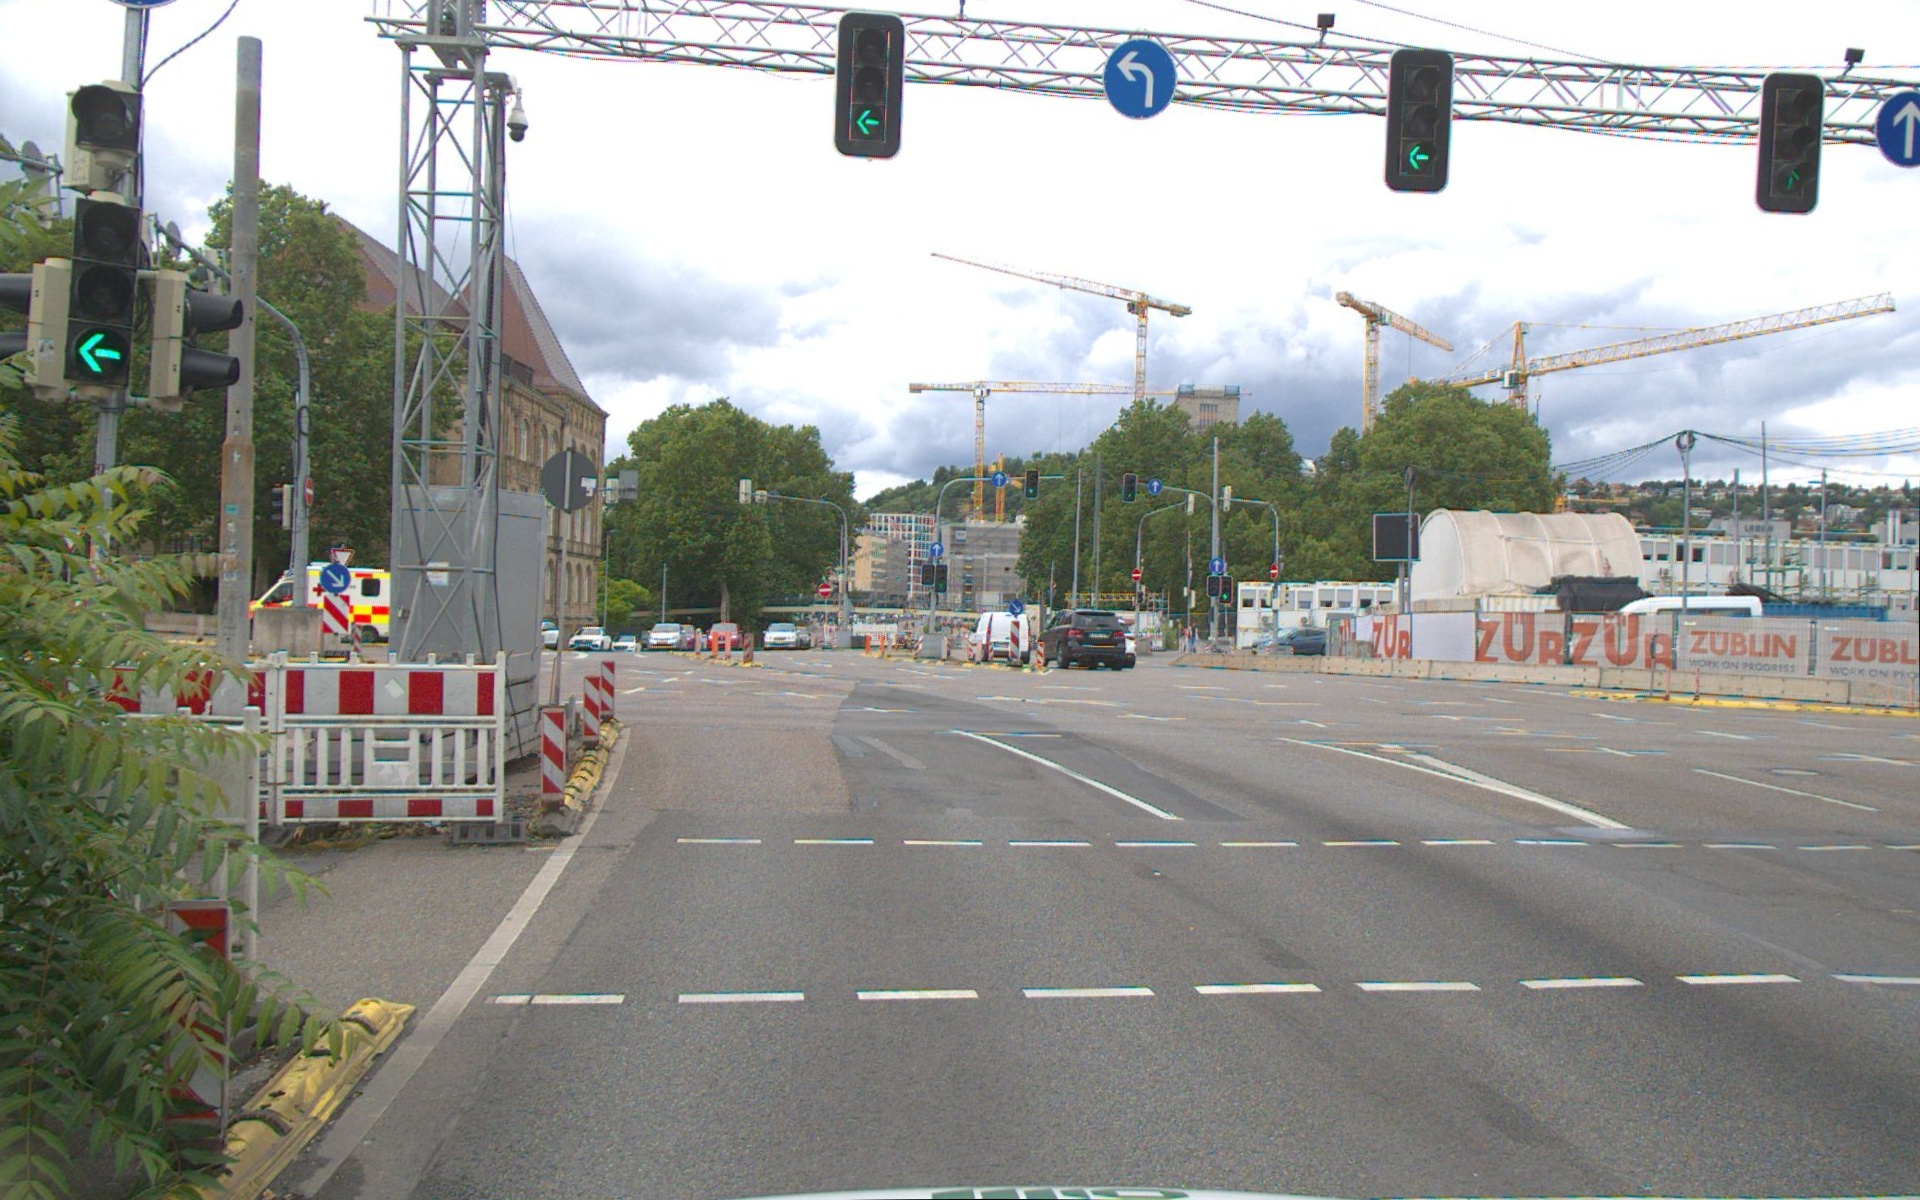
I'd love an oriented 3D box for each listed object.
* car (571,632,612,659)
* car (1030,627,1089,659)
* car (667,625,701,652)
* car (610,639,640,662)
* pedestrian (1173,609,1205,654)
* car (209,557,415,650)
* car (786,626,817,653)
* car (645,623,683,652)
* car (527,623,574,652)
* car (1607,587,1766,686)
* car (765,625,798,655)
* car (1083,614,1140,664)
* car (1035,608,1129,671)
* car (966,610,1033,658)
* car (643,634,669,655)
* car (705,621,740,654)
[{"bbox_3d":[-21.196,2.628,95.255,1.642,1.422,3.680,2,-1,-3],"label":"car"},{"bbox_3d":[4.545,1.963,75.934,1.650,1.423,3.069,1,-1,-19],"label":"car"},{"bbox_3d":[-15.161,2.092,90.957,1.644,1.423,3.677,1,-1,-7],"label":"car"},{"bbox_3d":[-22.128,3.320,109.257,1.644,1.423,3.677,1,-1,-7],"label":"car"},{"bbox_3d":[10.474,1.445,75.695,1.075,2.049,1.181,1,-1,-12],"label":"pedestrian"},{"bbox_3d":[-22.865,0.166,58.724,6.636,3.105,2.359,1,-1,-19],"label":"car"},{"bbox_3d":[-8.800,2.182,91.737,1.644,1.423,3.677,1,-1,-7],"label":"car"},{"bbox_3d":[-15.241,1.928,85.275,1.644,1.423,3.677,1,-1,-7],"label":"car"},{"bbox_3d":[-21.098,1.911,85.348,1.642,1.423,3.681,1,-1,-3],"label":"car"},{"bbox_3d":[20.813,1.036,47.534,3.902,2.708,1.683,1,-1,13],"label":"car"},{"bbox_3d":[-9.164,2.029,84.744,1.644,1.423,3.677,1,-1,-7],"label":"car"},{"bbox_3d":[5.394,1.368,59.108,1.642,1.732,3.373,1,-1,-1],"label":"car"},{"bbox_3d":[3.590,1.141,49.487,1.798,1.776,4.245,1,-1,-10],"label":"car"},{"bbox_3d":[1.408,1.222,60.336,1.783,1.653,3.993,1,-1,-8],"label":"car"},{"bbox_3d":[-22.146,3.241,120.516,1.644,1.423,3.677,1,-1,-7],"label":"car"},{"bbox_3d":[-12.109,1.881,84.413,1.644,1.608,3.677,1,-1,-7],"label":"car"}]
